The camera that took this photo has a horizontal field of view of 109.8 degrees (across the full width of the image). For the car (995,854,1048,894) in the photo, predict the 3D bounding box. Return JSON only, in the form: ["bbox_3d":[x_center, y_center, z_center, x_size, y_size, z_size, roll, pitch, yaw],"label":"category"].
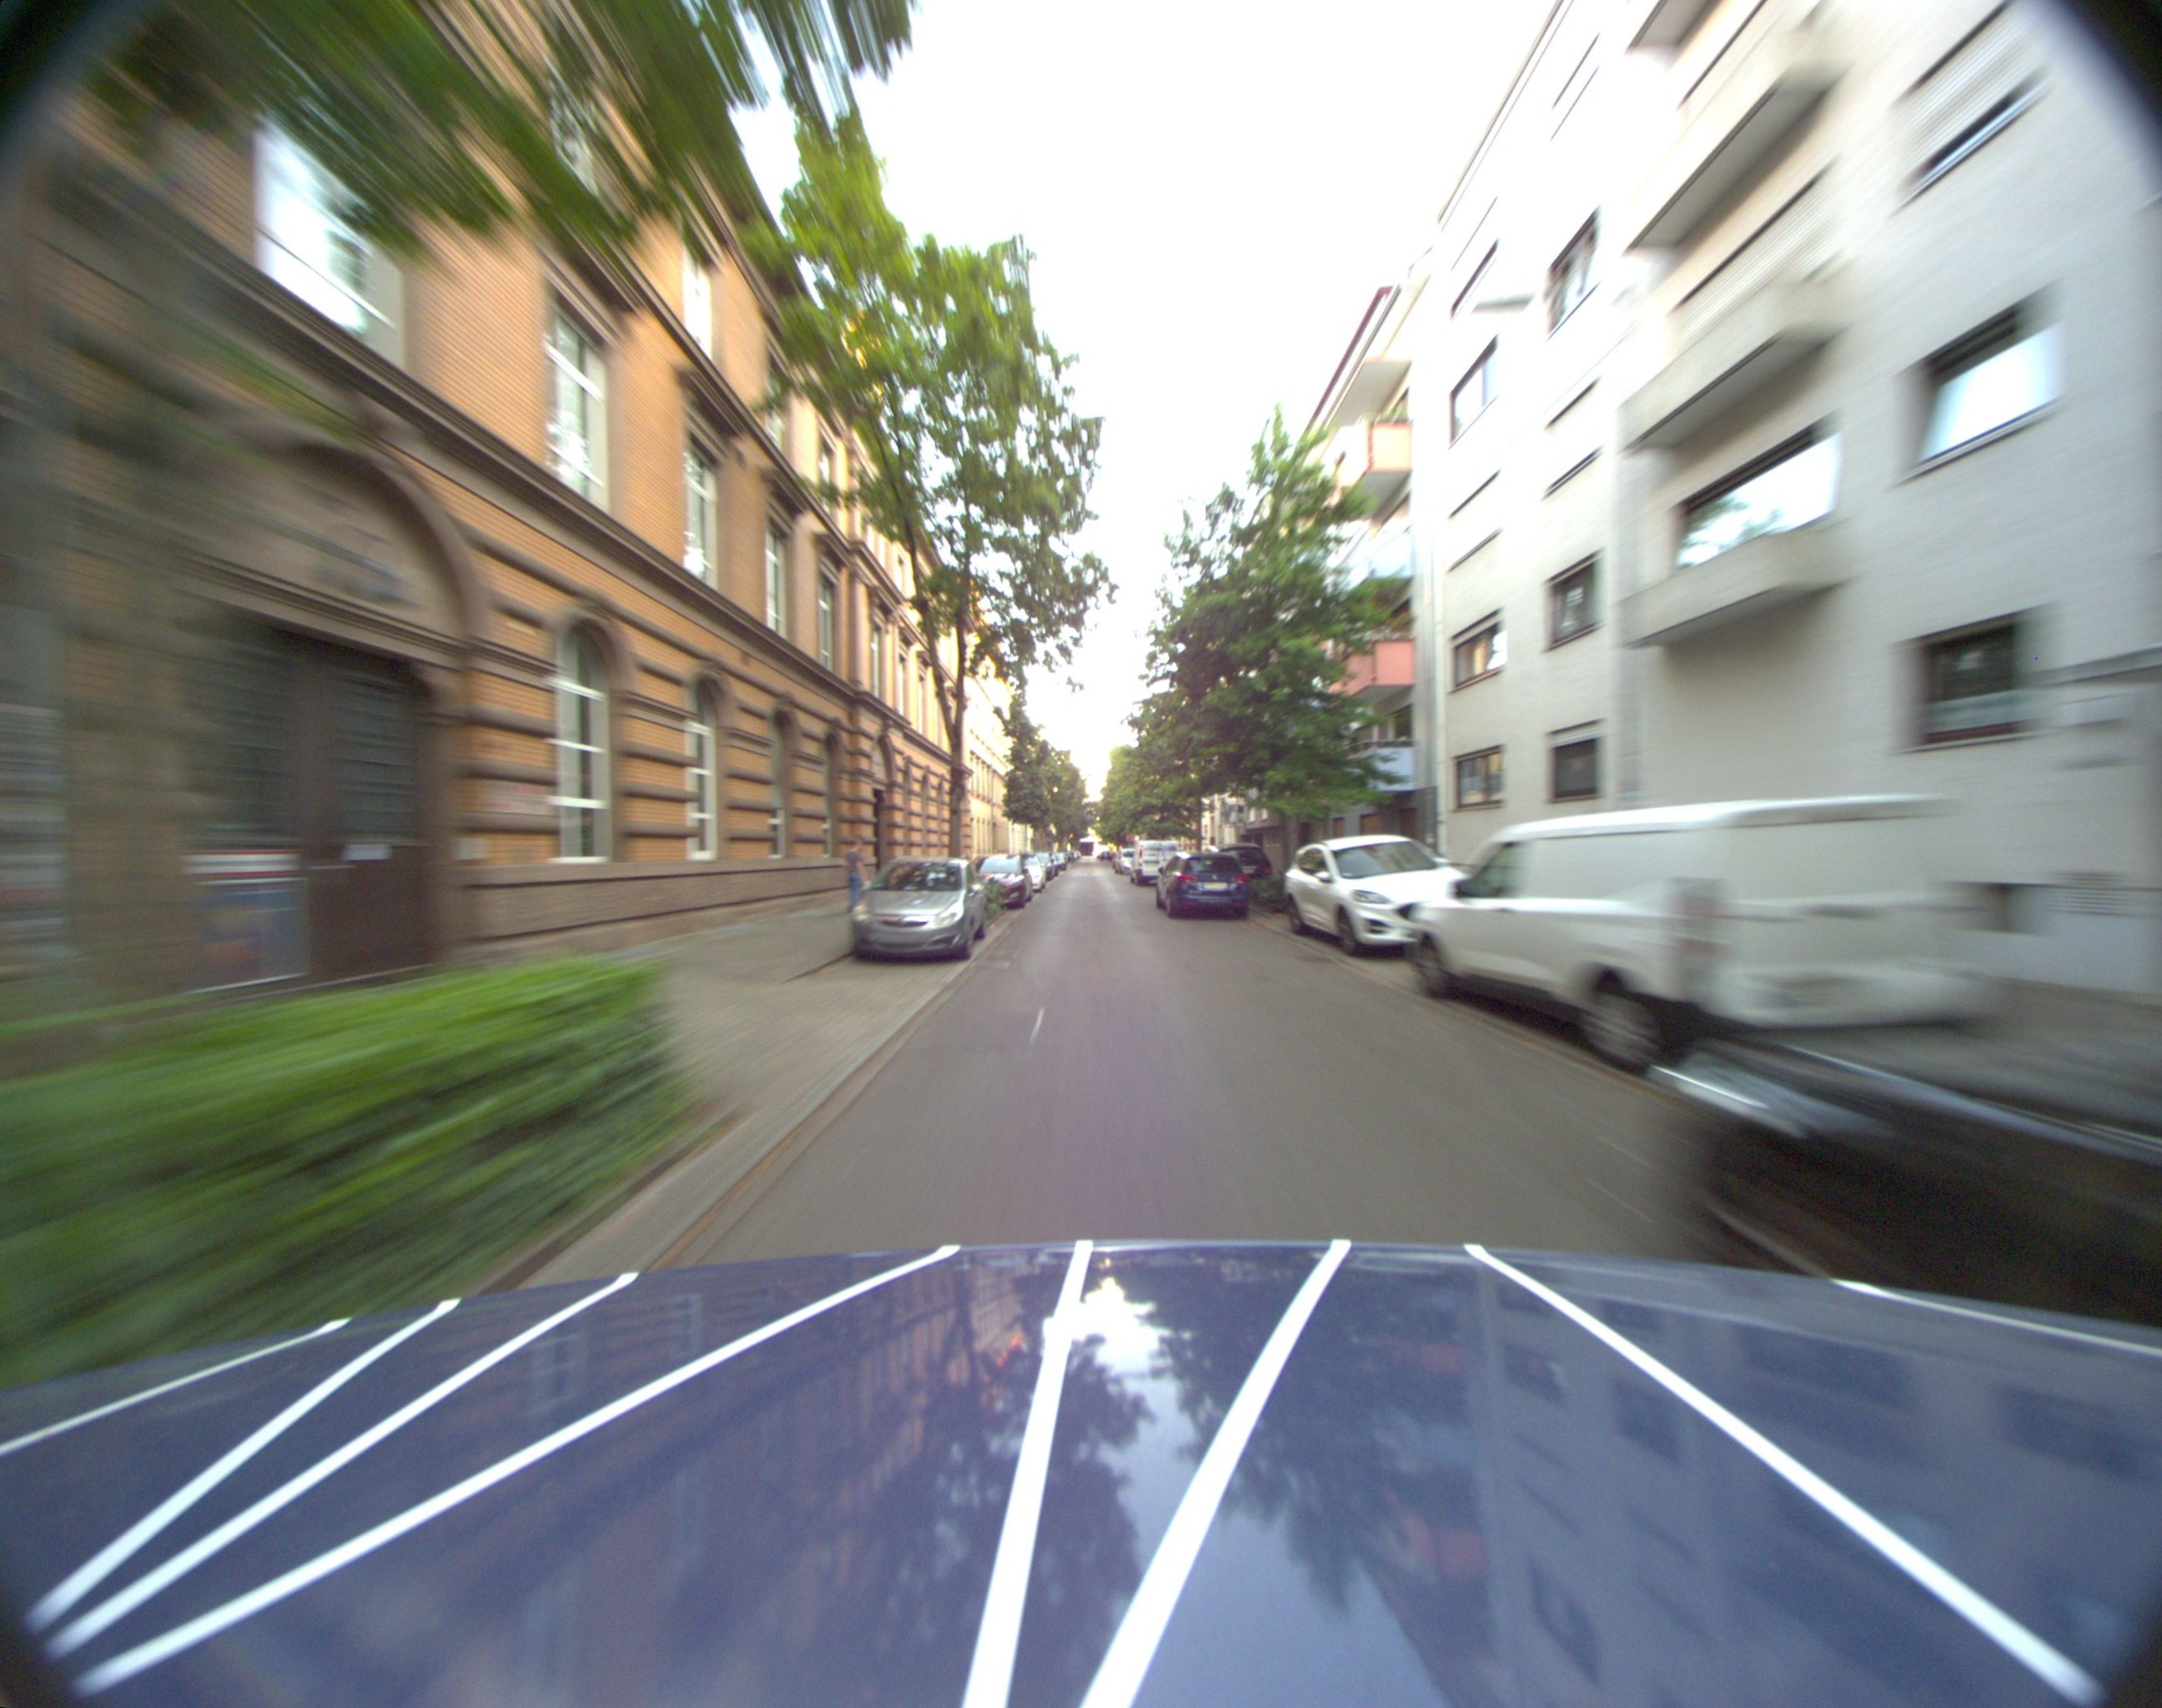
[{"bbox_3d":[-2.211,0.723,29.303,1.698,1.393,4.645,0,0,0],"label":"car"}]

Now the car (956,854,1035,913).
[{"bbox_3d":[-2.336,0.758,21.733,1.726,1.441,4.214,0,1,0],"label":"car"}]

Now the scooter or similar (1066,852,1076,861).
[{"bbox_3d":[-1.248,0.318,94.646,0.673,1.183,1.118,3,2,40],"label":"scooter or similar"}]

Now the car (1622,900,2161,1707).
[{"bbox_3d":[2.717,0.915,0.294,1.851,1.443,4.502,-1,1,1],"label":"car"}]

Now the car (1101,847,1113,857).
[{"bbox_3d":[4.127,-0.305,120.725,1.728,1.564,4.219,-1,0,1],"label":"car"}]

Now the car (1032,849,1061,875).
[{"bbox_3d":[-2.046,0.460,45.554,1.632,1.458,4.244,0,0,-1],"label":"car"}]

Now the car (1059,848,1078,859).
[{"bbox_3d":[-1.884,-0.032,116.717,2.804,1.590,1.800,2,1,1],"label":"car"}]

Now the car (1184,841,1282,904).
[{"bbox_3d":[4.527,0.485,23.354,1.998,1.637,4.921,-3,1,0],"label":"car"}]

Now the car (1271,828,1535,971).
[{"bbox_3d":[4.648,0.563,11.907,2.039,1.662,4.647,-4,0,0],"label":"car"}]

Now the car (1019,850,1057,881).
[{"bbox_3d":[-2.153,0.563,39.125,1.716,1.469,4.192,-1,0,0],"label":"car"}]

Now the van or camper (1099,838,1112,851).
[{"bbox_3d":[4.543,-1.733,139.468,2.225,2.417,5.660,-1,0,1],"label":"van or camper"}]

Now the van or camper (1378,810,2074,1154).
[{"bbox_3d":[4.401,0.690,6.374,1.936,1.749,4.464,-4,0,-1],"label":"van or camper"}]

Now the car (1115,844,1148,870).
[{"bbox_3d":[3.164,0.175,48.138,1.668,1.554,3.999,0,1,-3],"label":"car"}]

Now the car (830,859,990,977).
[{"bbox_3d":[-2.499,0.865,12.053,1.702,1.474,3.999,1,0,-2],"label":"car"}]

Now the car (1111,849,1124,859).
[{"bbox_3d":[5.575,-0.047,116.489,1.695,1.493,3.711,-2,1,0],"label":"car"}]

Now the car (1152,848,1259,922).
[{"bbox_3d":[2.837,0.630,18.295,1.835,1.508,4.515,-1,1,0],"label":"car"}]

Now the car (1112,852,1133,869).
[{"bbox_3d":[3.499,0.546,64.848,1.584,1.412,3.753,0,1,0],"label":"car"}]

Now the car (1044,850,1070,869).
[{"bbox_3d":[-1.869,0.422,60.419,1.771,1.407,4.473,1,0,1],"label":"car"}]

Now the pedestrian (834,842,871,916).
[{"bbox_3d":[-5.181,0.549,17.236,0.628,1.639,0.532,-1,1,1],"label":"pedestrian"}]

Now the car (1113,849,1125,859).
[{"bbox_3d":[5.574,-0.006,112.604,1.523,1.493,3.561,-2,1,0],"label":"car"}]

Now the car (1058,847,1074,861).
[{"bbox_3d":[-1.931,-0.024,98.877,2.018,1.822,4.810,1,0,0],"label":"car"}]

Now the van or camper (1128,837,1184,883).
[{"bbox_3d":[3.154,0.234,32.875,1.881,1.832,4.752,0,0,-1],"label":"van or camper"}]
